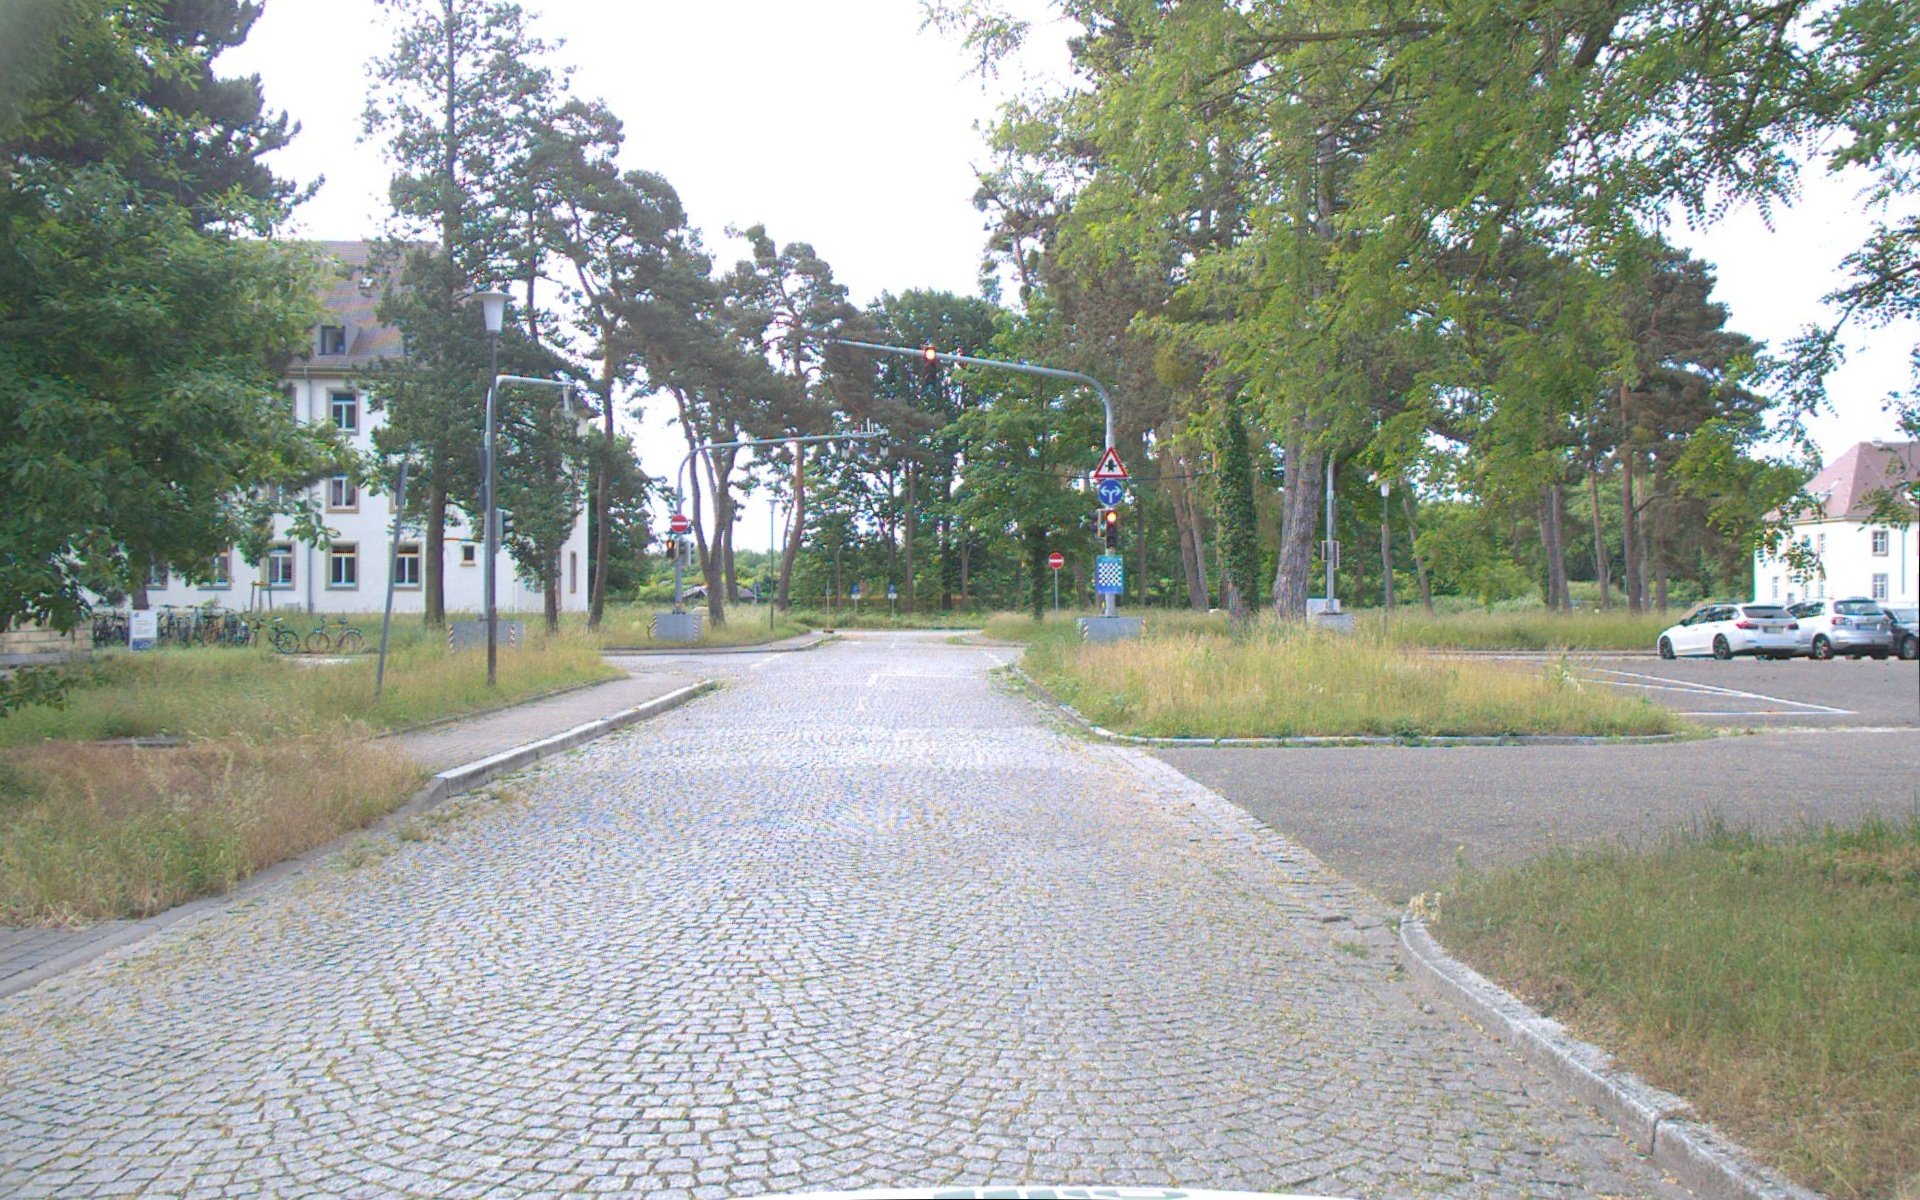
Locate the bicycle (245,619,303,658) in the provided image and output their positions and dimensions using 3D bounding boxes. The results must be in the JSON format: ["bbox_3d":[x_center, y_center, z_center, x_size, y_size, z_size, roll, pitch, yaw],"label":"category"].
[{"bbox_3d":[-19.661,1.109,47.414,1.435,1.098,0.516,-1,-1,-4],"label":"bicycle"}]

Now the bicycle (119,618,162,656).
[{"bbox_3d":[-24.039,1.075,48.558,0.504,1.098,1.585,-1,0,-1],"label":"bicycle"}]

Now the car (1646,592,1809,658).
[{"bbox_3d":[19.779,0.689,42.839,1.812,1.513,4.604,1,-3,-4],"label":"car"}]

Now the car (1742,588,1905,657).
[{"bbox_3d":[22.367,0.624,43.053,1.747,1.634,4.238,0,-3,-5],"label":"car"}]

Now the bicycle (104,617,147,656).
[{"bbox_3d":[-24.483,1.067,48.533,0.504,1.098,1.585,-1,0,-1],"label":"bicycle"}]

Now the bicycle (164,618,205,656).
[{"bbox_3d":[-22.811,1.073,48.677,0.504,1.098,1.585,-1,0,-1],"label":"bicycle"}]

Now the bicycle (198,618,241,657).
[{"bbox_3d":[-21.762,1.099,48.623,0.504,1.098,1.585,-1,0,1],"label":"bicycle"}]

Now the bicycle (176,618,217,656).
[{"bbox_3d":[-22.456,1.082,48.687,0.504,1.098,1.585,-1,0,-1],"label":"bicycle"}]

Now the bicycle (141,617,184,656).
[{"bbox_3d":[-23.429,1.068,48.605,0.504,1.098,1.585,-1,0,-1],"label":"bicycle"}]

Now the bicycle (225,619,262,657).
[{"bbox_3d":[-21.100,1.116,48.738,0.504,1.098,1.584,-1,0,-4],"label":"bicycle"}]

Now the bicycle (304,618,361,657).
[{"bbox_3d":[-18.060,1.075,47.647,1.435,1.084,0.516,-1,-1,-4],"label":"bicycle"}]

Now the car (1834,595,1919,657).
[{"bbox_3d":[24.935,0.709,43.450,1.666,1.511,4.242,0,-3,0],"label":"car"}]
